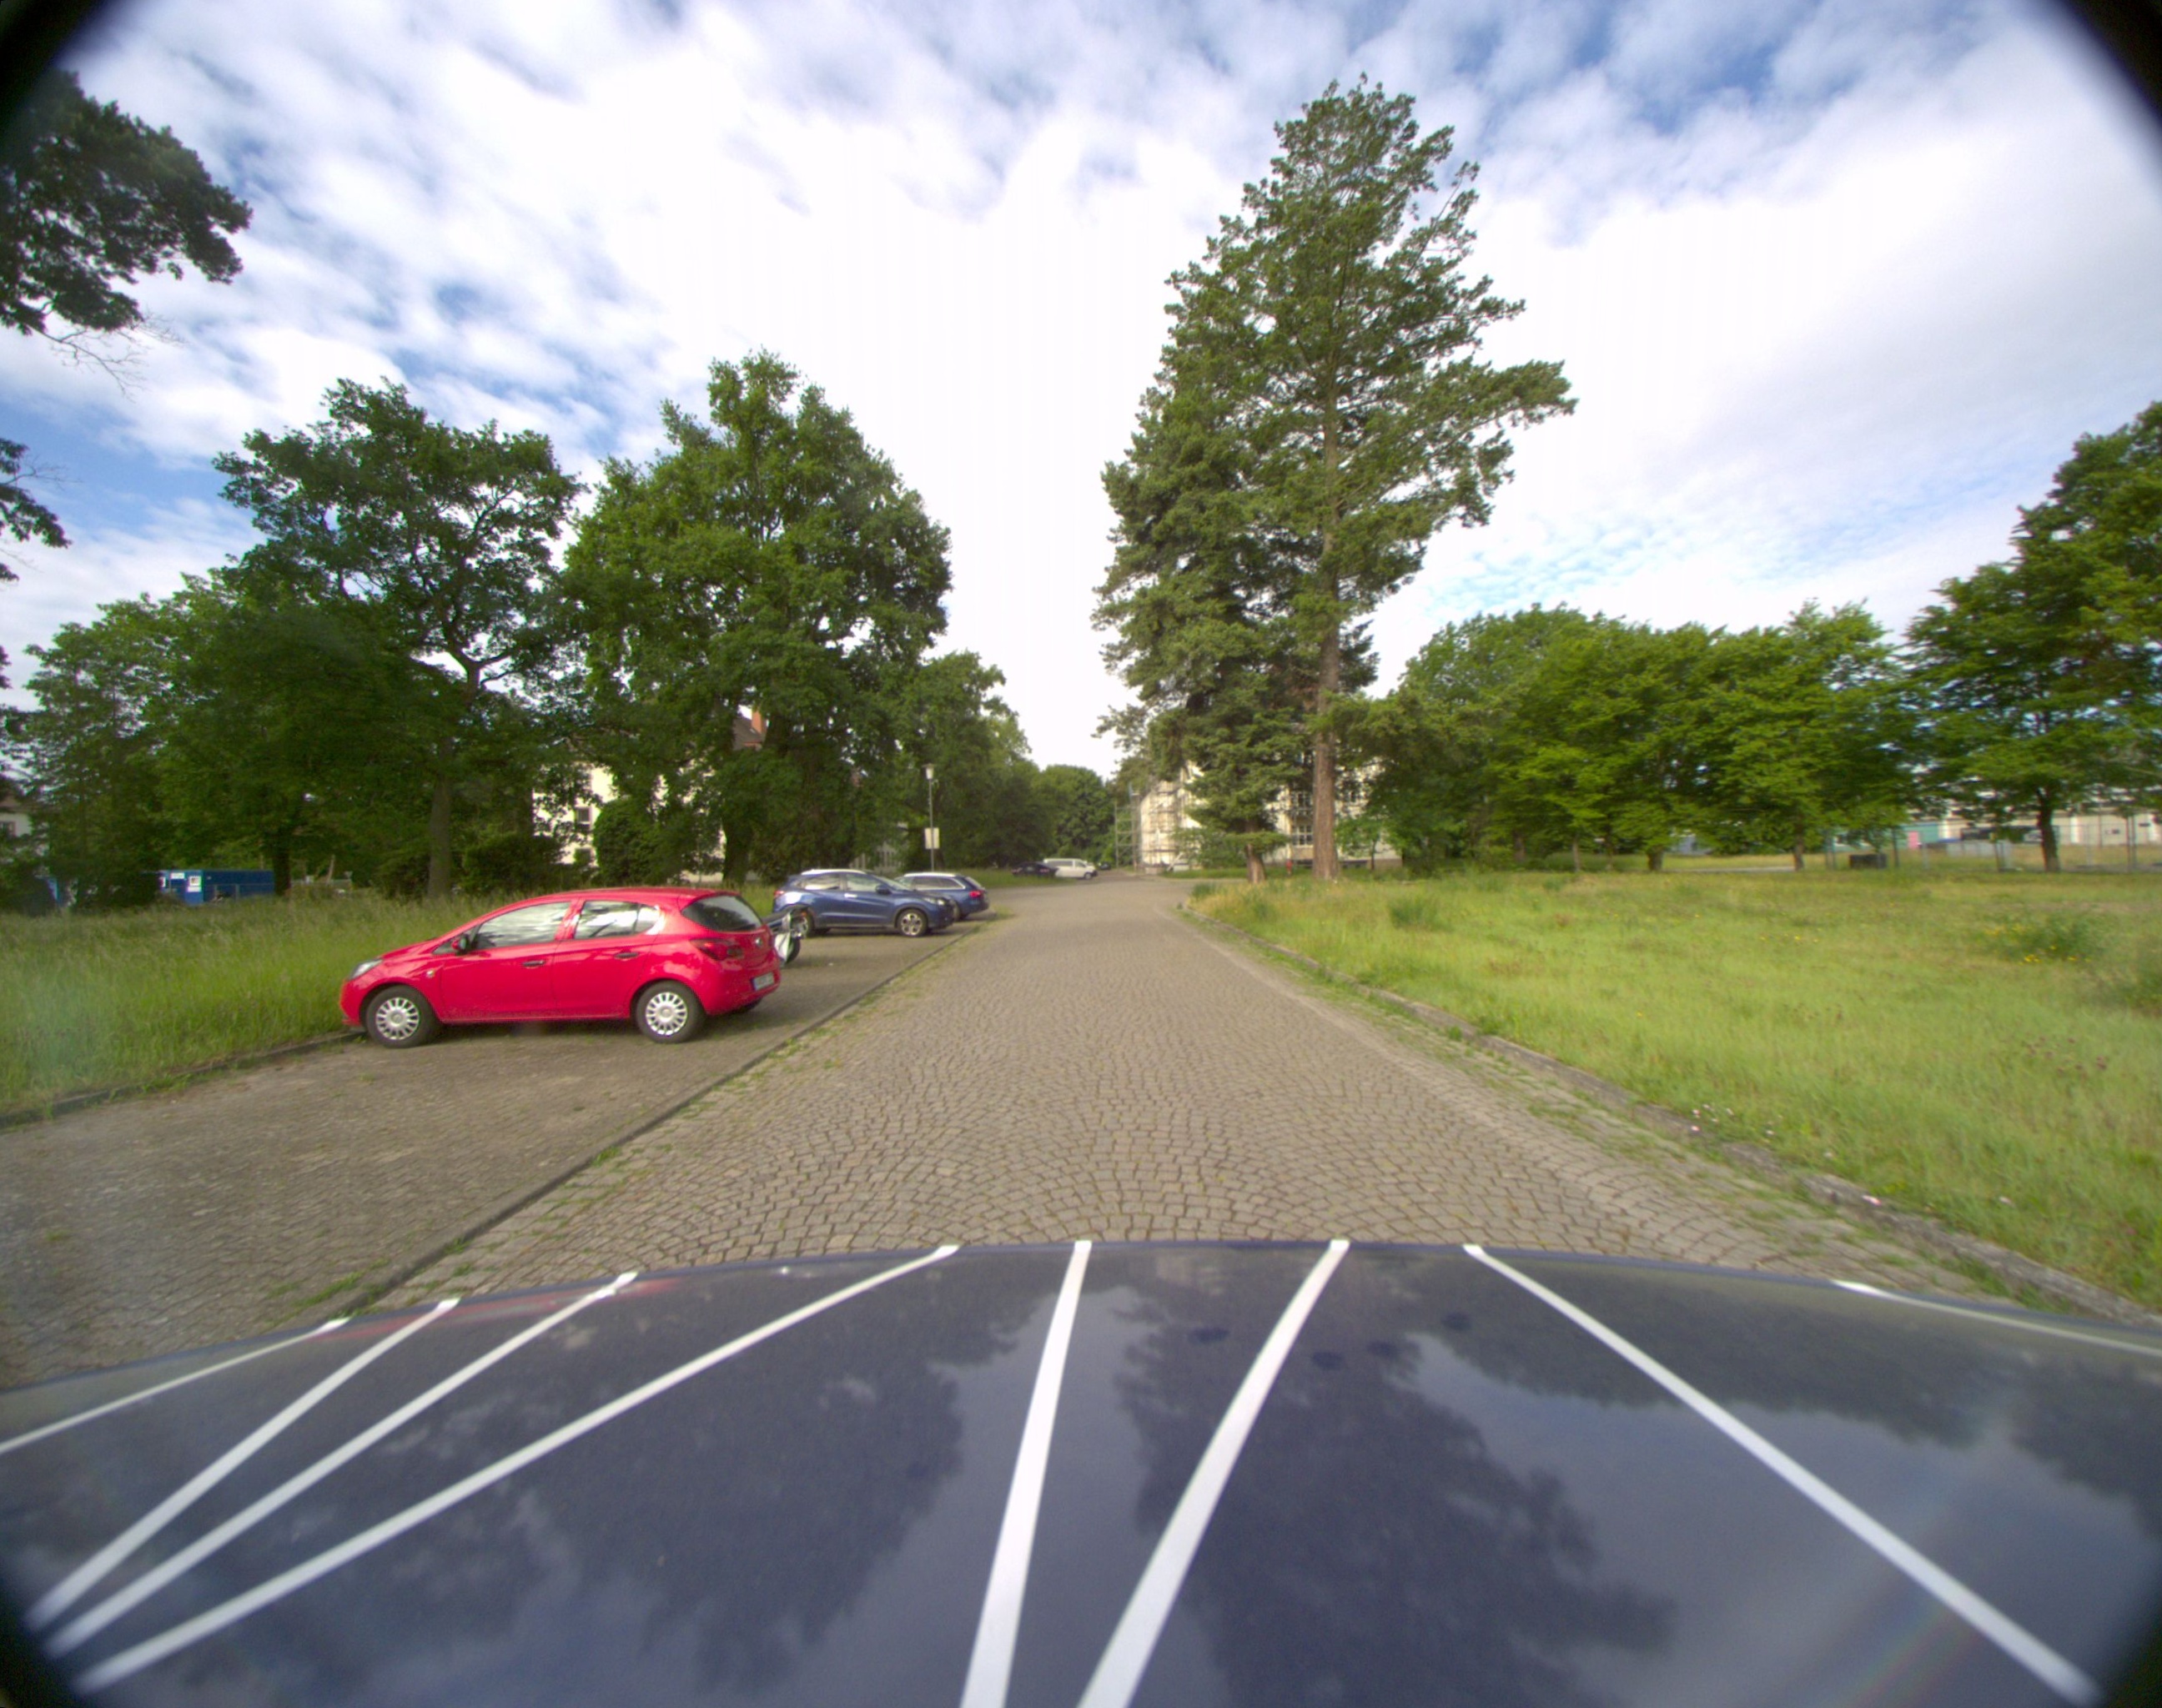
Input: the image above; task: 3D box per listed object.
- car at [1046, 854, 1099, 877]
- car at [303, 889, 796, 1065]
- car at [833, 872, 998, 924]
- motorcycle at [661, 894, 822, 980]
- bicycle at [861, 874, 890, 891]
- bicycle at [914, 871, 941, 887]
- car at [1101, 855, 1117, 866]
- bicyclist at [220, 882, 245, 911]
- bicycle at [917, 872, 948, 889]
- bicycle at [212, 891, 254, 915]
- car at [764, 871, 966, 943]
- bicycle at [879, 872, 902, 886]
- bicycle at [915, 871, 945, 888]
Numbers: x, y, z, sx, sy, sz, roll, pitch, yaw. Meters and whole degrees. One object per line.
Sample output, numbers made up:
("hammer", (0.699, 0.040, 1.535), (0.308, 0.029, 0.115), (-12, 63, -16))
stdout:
("car", (-0.805, 1.100, 71.699), (4.916, 1.983, 2.000), (-2, 0, -2))
("car", (-5.218, 1.170, 7.880), (3.849, 1.496, 1.738), (-1, 0, -1))
("car", (-4.932, 1.295, 23.001), (4.515, 1.456, 1.896), (-1, 0, 4))
("motorcycle", (-5.436, 1.316, 12.262), (2.271, 1.267, 0.605), (-1, 0, -5))
("bicycle", (-13.976, 1.925, 51.707), (1.815, 1.082, 0.478), (-2, 2, -27))
("bicycle", (-11.145, 1.811, 55.122), (1.868, 1.082, 0.519), (-1, 2, -22))
("car", (5.057, 1.233, 138.005), (2.029, 1.915, 3.997), (-2, 0, -11))
("bicyclist", (-60.252, 3.023, 53.975), (0.658, 2.002, 0.848), (-3, 1, 1))
("bicycle", (-10.043, 1.782, 51.424), (2.020, 1.082, 0.478), (-1, 2, -22))
("bicycle", (-60.227, 3.466, 54.000), (0.655, 1.471, 1.934), (-3, 1, 1))
("car", (-5.048, 1.216, 18.221), (4.274, 1.564, 1.895), (-1, 0, 0))
("bicycle", (-14.155, 1.851, 56.349), (1.568, 1.028, 0.475), (-1, 0, -24))
("bicycle", (-10.522, 1.768, 52.974), (2.020, 1.082, 0.478), (-1, 2, -22))
